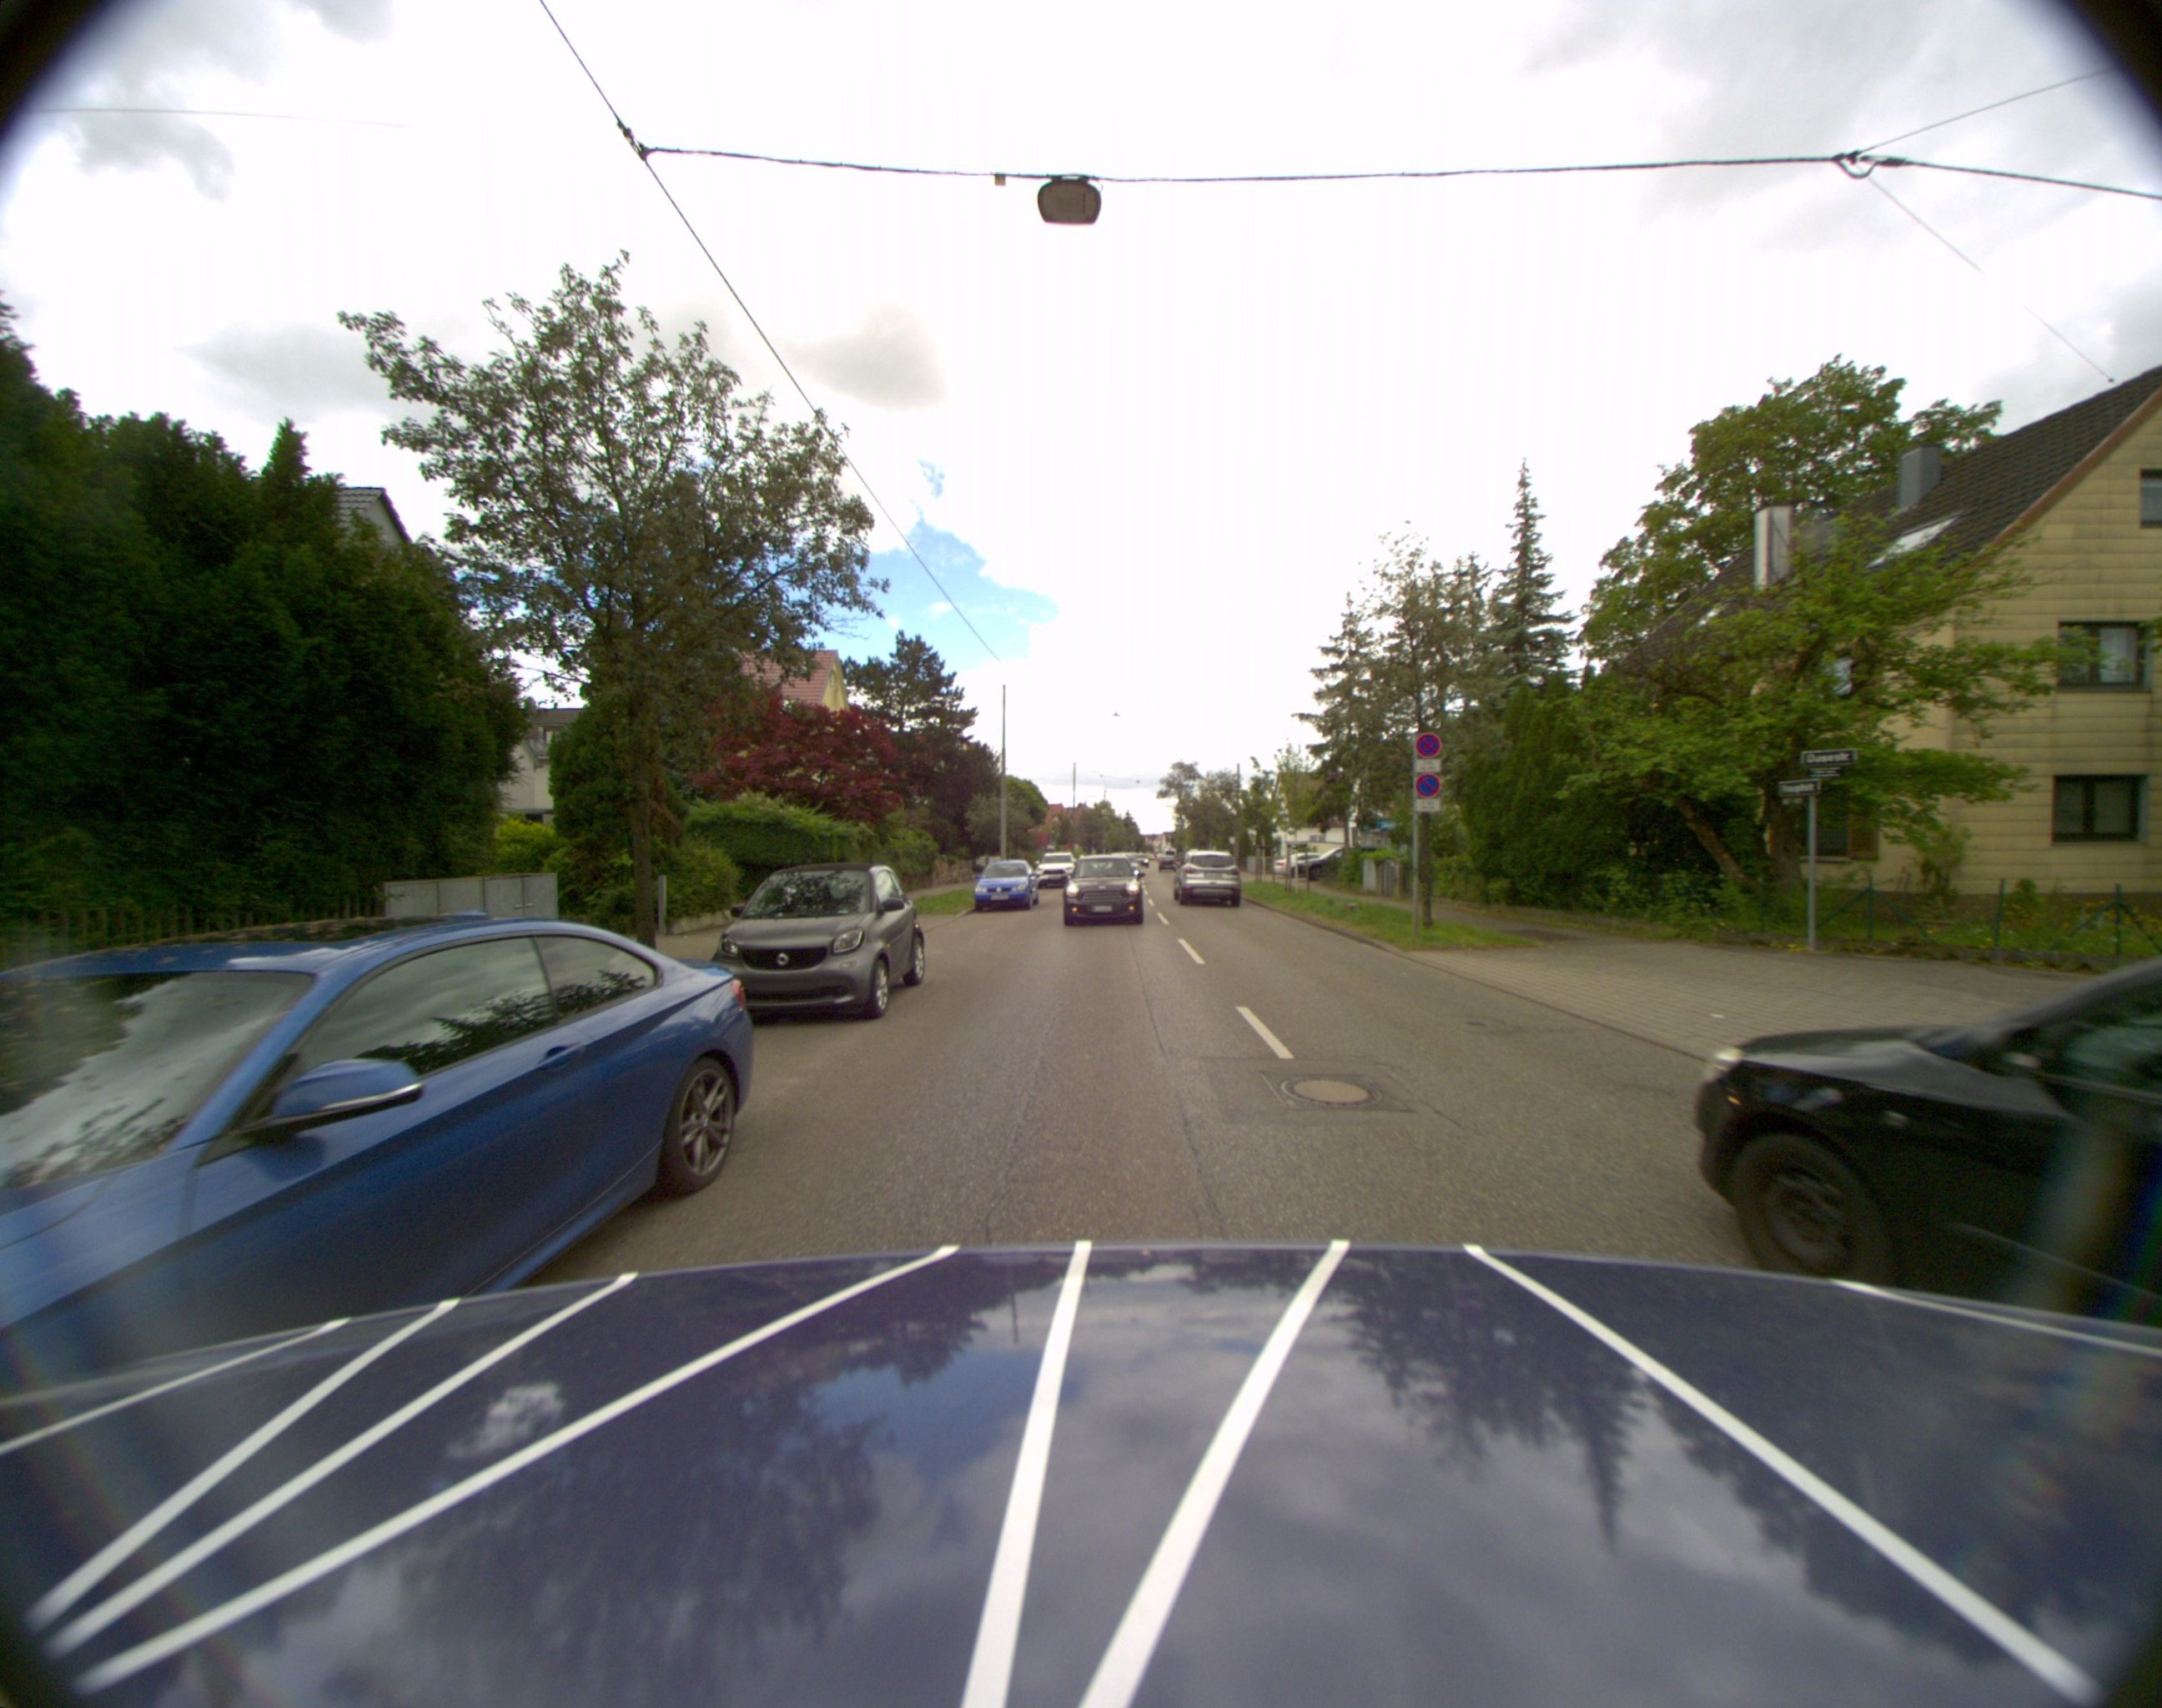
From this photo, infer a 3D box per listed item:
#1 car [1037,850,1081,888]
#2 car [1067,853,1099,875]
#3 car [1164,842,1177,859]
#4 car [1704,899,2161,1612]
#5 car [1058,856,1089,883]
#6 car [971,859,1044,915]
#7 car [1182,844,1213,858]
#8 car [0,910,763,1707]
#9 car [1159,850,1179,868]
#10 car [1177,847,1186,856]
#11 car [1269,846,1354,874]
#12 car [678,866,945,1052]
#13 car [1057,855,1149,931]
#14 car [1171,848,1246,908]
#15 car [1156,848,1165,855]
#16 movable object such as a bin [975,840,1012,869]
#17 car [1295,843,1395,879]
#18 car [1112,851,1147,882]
[{"bbox_3d":[-1.030,0.693,38.453,1.803,1.768,4.705,-2,0,3],"label":"car"},{"bbox_3d":[0.161,0.679,55.132,1.834,1.448,4.552,-2,0,6],"label":"car"},{"bbox_3d":[14.821,-0.586,125.928,2.077,2.568,5.302,2,1,6],"label":"car"},{"bbox_3d":[3.120,0.926,1.033,1.548,1.461,3.742,-1,0,2],"label":"car"},{"bbox_3d":[-0.385,0.859,44.358,1.562,1.434,3.507,-2,0,2],"label":"car"},{"bbox_3d":[-2.181,0.948,23.465,1.630,1.443,3.876,-2,1,3],"label":"car"},{"bbox_3d":[22.553,-0.696,147.354,5.608,2.549,2.134,2,2,24],"label":"car"},{"bbox_3d":[-2.729,1.068,2.204,1.701,1.424,4.339,-2,0,1],"label":"car"},{"bbox_3d":[8.050,0.458,70.058,1.578,1.464,3.470,1,2,3],"label":"car"},{"bbox_3d":[23.243,-0.556,176.459,1.997,1.938,4.900,0,0,7],"label":"car"},{"bbox_3d":[13.217,0.305,43.672,4.289,1.360,1.816,-3,1,0],"label":"car"},{"bbox_3d":[-2.822,0.995,8.943,1.699,1.548,3.955,-2,0,-1],"label":"car"},{"bbox_3d":[0.624,0.824,17.828,1.742,1.573,3.686,-1,0,8],"label":"car"},{"bbox_3d":[3.943,0.681,24.148,1.746,1.696,4.100,1,1,1],"label":"car"},{"bbox_3d":[18.285,-0.593,174.398,1.799,1.742,4.300,0,0,7],"label":"car"},{"bbox_3d":[-6.235,0.033,54.240,2.316,2.002,1.343,-2,1,2],"label":"movable object such as a bin"},{"bbox_3d":[13.058,0.310,37.838,4.342,1.609,1.974,-2,1,7],"label":"car"},{"bbox_3d":[2.683,0.666,41.347,1.589,1.598,3.686,0,0,8],"label":"car"}]
